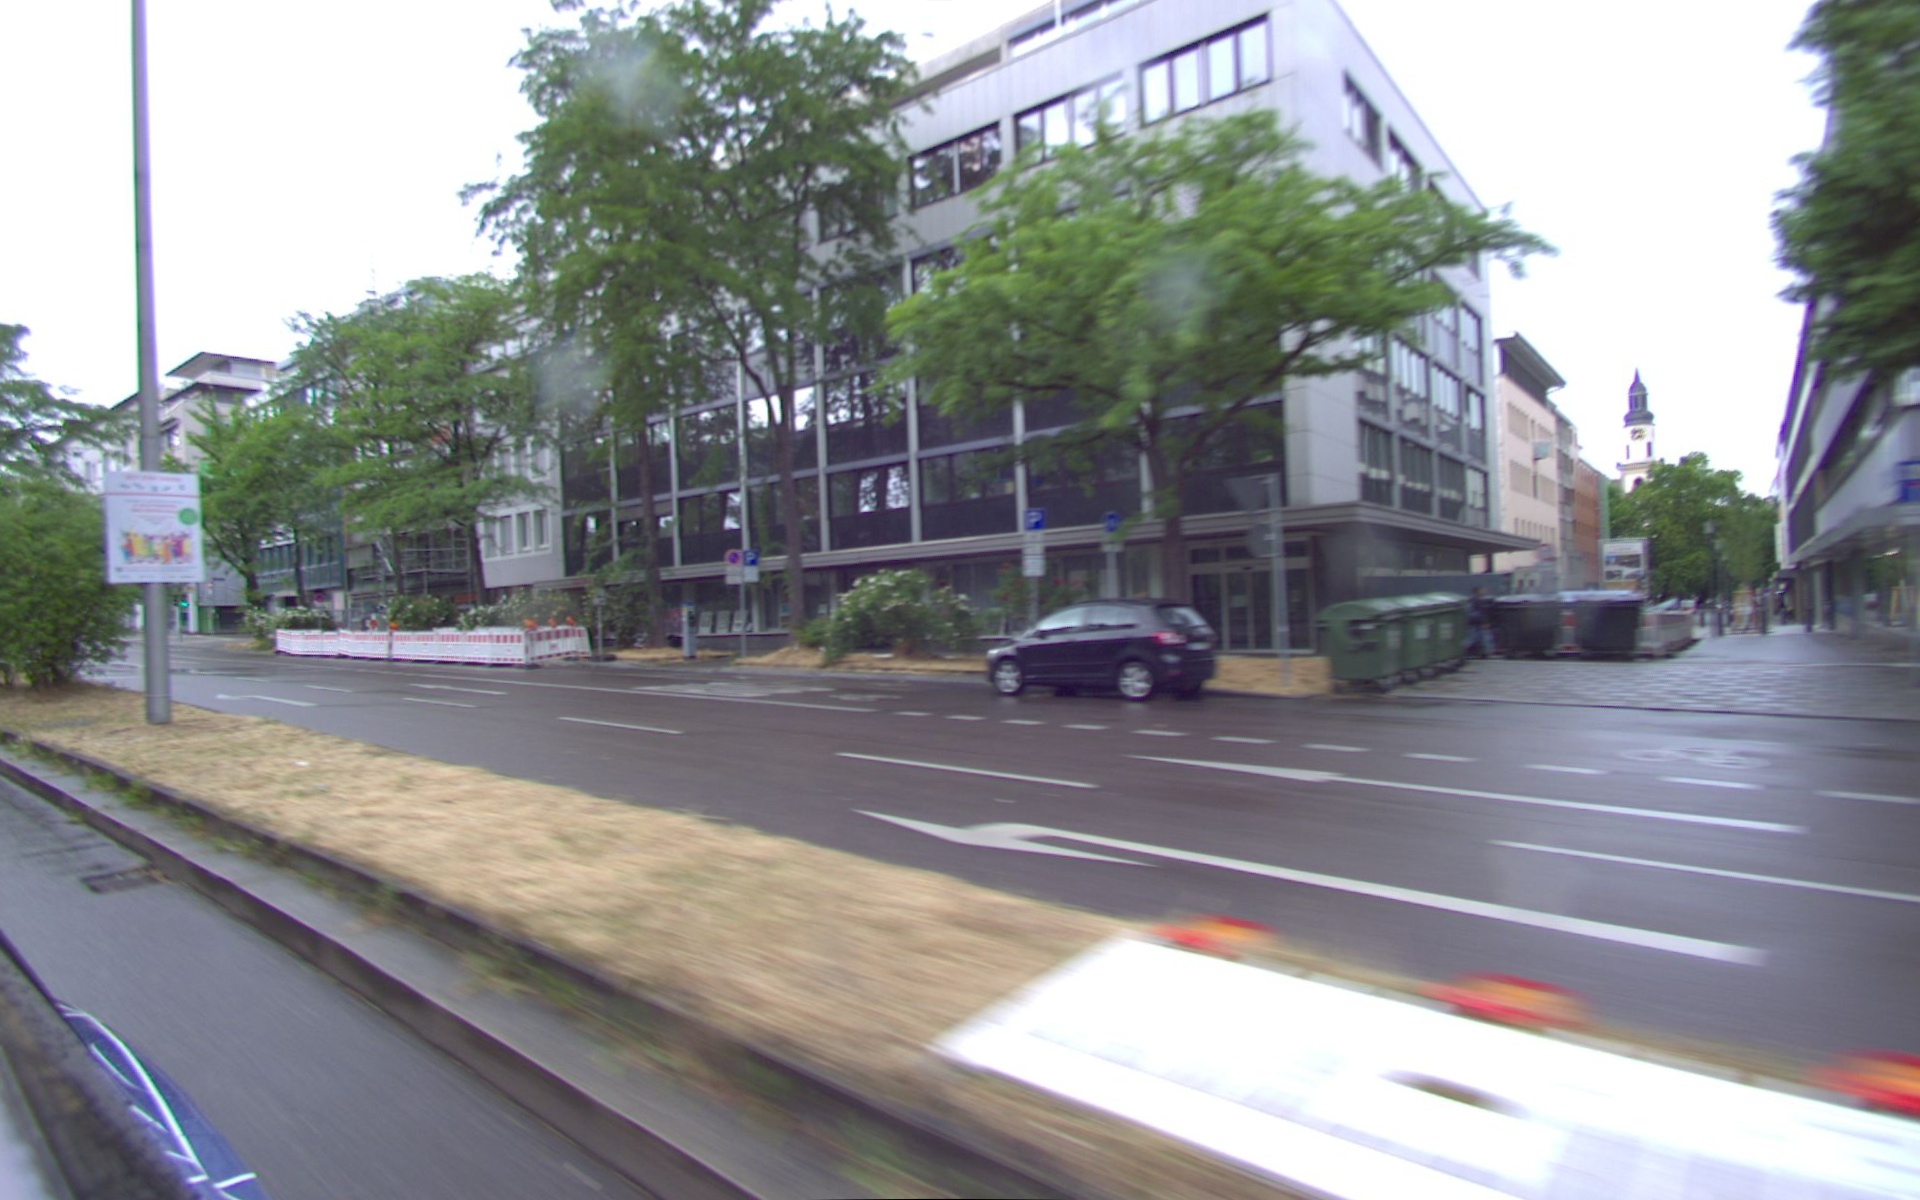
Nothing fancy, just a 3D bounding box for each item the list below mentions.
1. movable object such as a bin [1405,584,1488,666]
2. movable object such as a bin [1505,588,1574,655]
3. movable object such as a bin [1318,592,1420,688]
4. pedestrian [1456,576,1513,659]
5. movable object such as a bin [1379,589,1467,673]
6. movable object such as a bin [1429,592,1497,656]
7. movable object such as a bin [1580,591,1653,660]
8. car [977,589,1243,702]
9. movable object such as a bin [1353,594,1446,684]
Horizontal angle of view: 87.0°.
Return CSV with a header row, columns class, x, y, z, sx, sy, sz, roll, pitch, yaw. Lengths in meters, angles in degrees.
class,x,y,z,sx,sy,sz,roll,pitch,yaw
movable object such as a bin,9.219,0.458,19.173,1.088,1.499,1.264,-1,-1,42
movable object such as a bin,12.957,0.469,22.625,1.278,1.446,1.076,-1,-1,33
movable object such as a bin,6.499,0.610,16.053,1.088,1.437,1.345,-1,-1,42
pedestrian,11.022,0.367,21.256,0.895,1.701,0.860,-1,-1,38
movable object such as a bin,8.302,0.534,18.142,1.088,1.437,1.264,-1,-1,42
movable object such as a bin,11.692,0.547,23.513,1.278,1.446,1.076,-1,-1,33
movable object such as a bin,14.246,0.535,21.998,1.278,1.446,1.076,-1,-1,33
car,2.390,0.698,16.719,4.021,1.648,1.760,-1,-1,40
movable object such as a bin,7.439,0.631,17.121,1.088,1.437,1.264,-1,-1,42
